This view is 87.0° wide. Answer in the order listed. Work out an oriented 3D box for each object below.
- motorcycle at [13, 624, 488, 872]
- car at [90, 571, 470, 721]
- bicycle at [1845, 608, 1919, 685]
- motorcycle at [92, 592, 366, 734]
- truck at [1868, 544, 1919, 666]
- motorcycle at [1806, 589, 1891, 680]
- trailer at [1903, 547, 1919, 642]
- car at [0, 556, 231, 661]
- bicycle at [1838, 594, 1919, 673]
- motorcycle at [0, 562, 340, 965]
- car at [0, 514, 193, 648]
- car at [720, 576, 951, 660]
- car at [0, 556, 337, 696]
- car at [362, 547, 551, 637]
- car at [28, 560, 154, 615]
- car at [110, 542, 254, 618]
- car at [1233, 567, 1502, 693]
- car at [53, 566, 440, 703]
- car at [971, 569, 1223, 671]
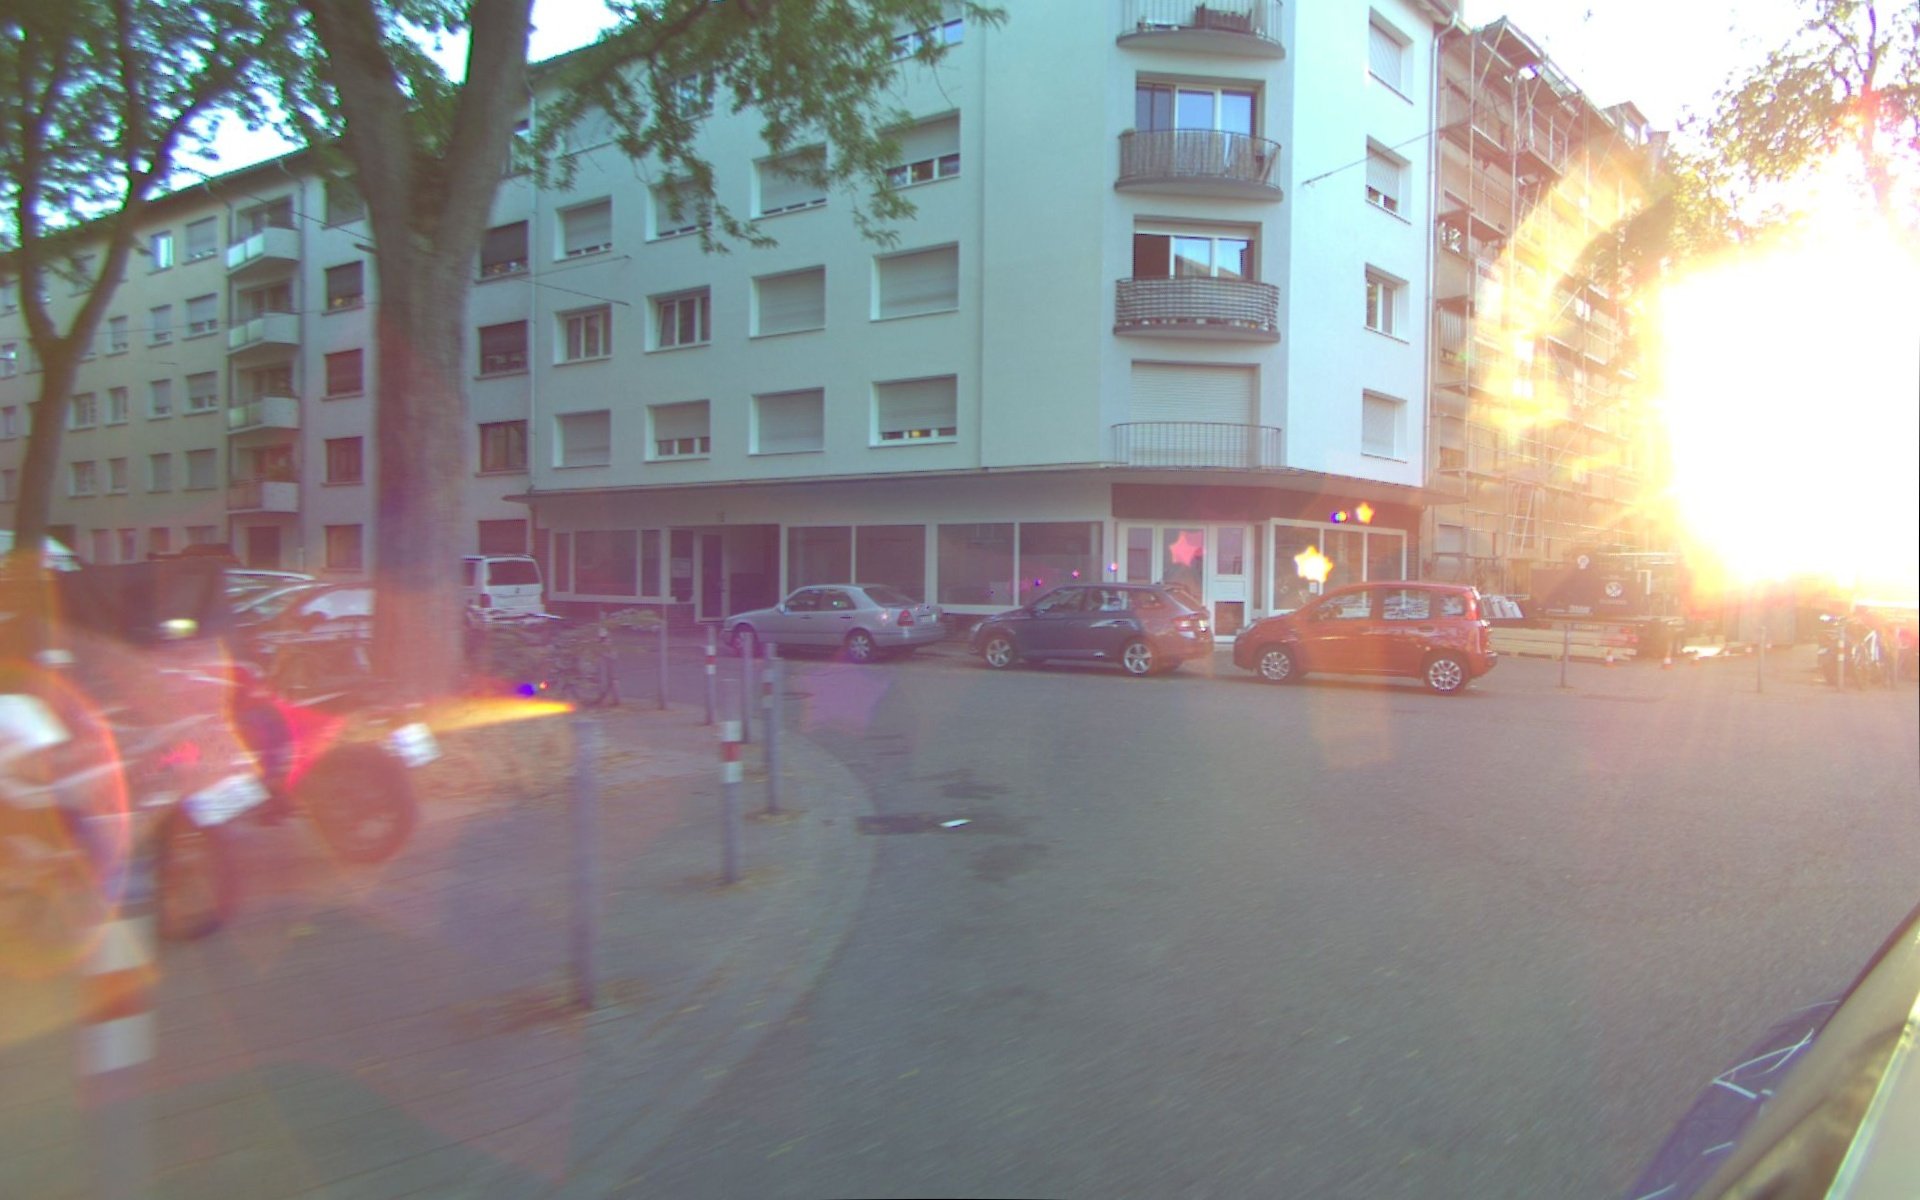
[{"bbox_3d":[-3.557,0.709,5.116,2.173,1.093,0.437,2,0,5],"label":"motorcycle"},{"bbox_3d":[-7.895,0.432,12.023,1.668,1.496,3.395,0,1,32],"label":"car"},{"bbox_3d":[14.606,0.712,15.935,2.113,1.123,0.407,0,3,-34],"label":"bicycle"},{"bbox_3d":[-6.154,0.511,8.541,2.073,1.093,0.437,2,0,5],"label":"motorcycle"},{"bbox_3d":[20.536,0.048,20.991,6.664,2.272,1.979,-1,2,-43],"label":"truck"},{"bbox_3d":[14.479,0.533,16.477,2.022,1.372,0.504,-1,3,-35],"label":"motorcycle"},{"bbox_3d":[25.663,-0.087,25.711,4.564,2.323,1.958,0,4,-42],"label":"trailer"},{"bbox_3d":[-14.288,0.124,16.124,1.842,1.537,3.955,-1,0,32],"label":"car"},{"bbox_3d":[16.406,0.591,17.403,1.903,1.274,0.400,5,4,44],"label":"bicycle"},{"bbox_3d":[-3.702,0.565,3.999,2.172,1.426,0.585,2,0,3],"label":"motorcycle"},{"bbox_3d":[-17.482,-0.346,18.313,1.982,2.331,5.466,1,1,28],"label":"car"},{"bbox_3d":[-2.396,0.283,19.273,4.193,1.446,1.642,0,2,27],"label":"car"},{"bbox_3d":[-11.699,0.281,14.781,1.763,1.742,4.097,1,1,32],"label":"car"},{"bbox_3d":[-12.384,-0.216,24.866,4.432,2.044,1.891,0,1,27],"label":"car"},{"bbox_3d":[-29.351,-0.427,34.174,3.970,1.765,1.890,0,2,28],"label":"car"},{"bbox_3d":[-24.321,-0.616,31.613,4.434,2.227,1.890,0,1,28],"label":"car"},{"bbox_3d":[5.930,0.363,14.791,3.449,1.593,1.609,2,1,30],"label":"car"},{"bbox_3d":[-9.499,0.356,13.797,1.812,1.573,3.955,1,1,32],"label":"car"},{"bbox_3d":[2.244,0.298,16.789,3.862,1.527,1.610,0,0,29],"label":"car"}]
